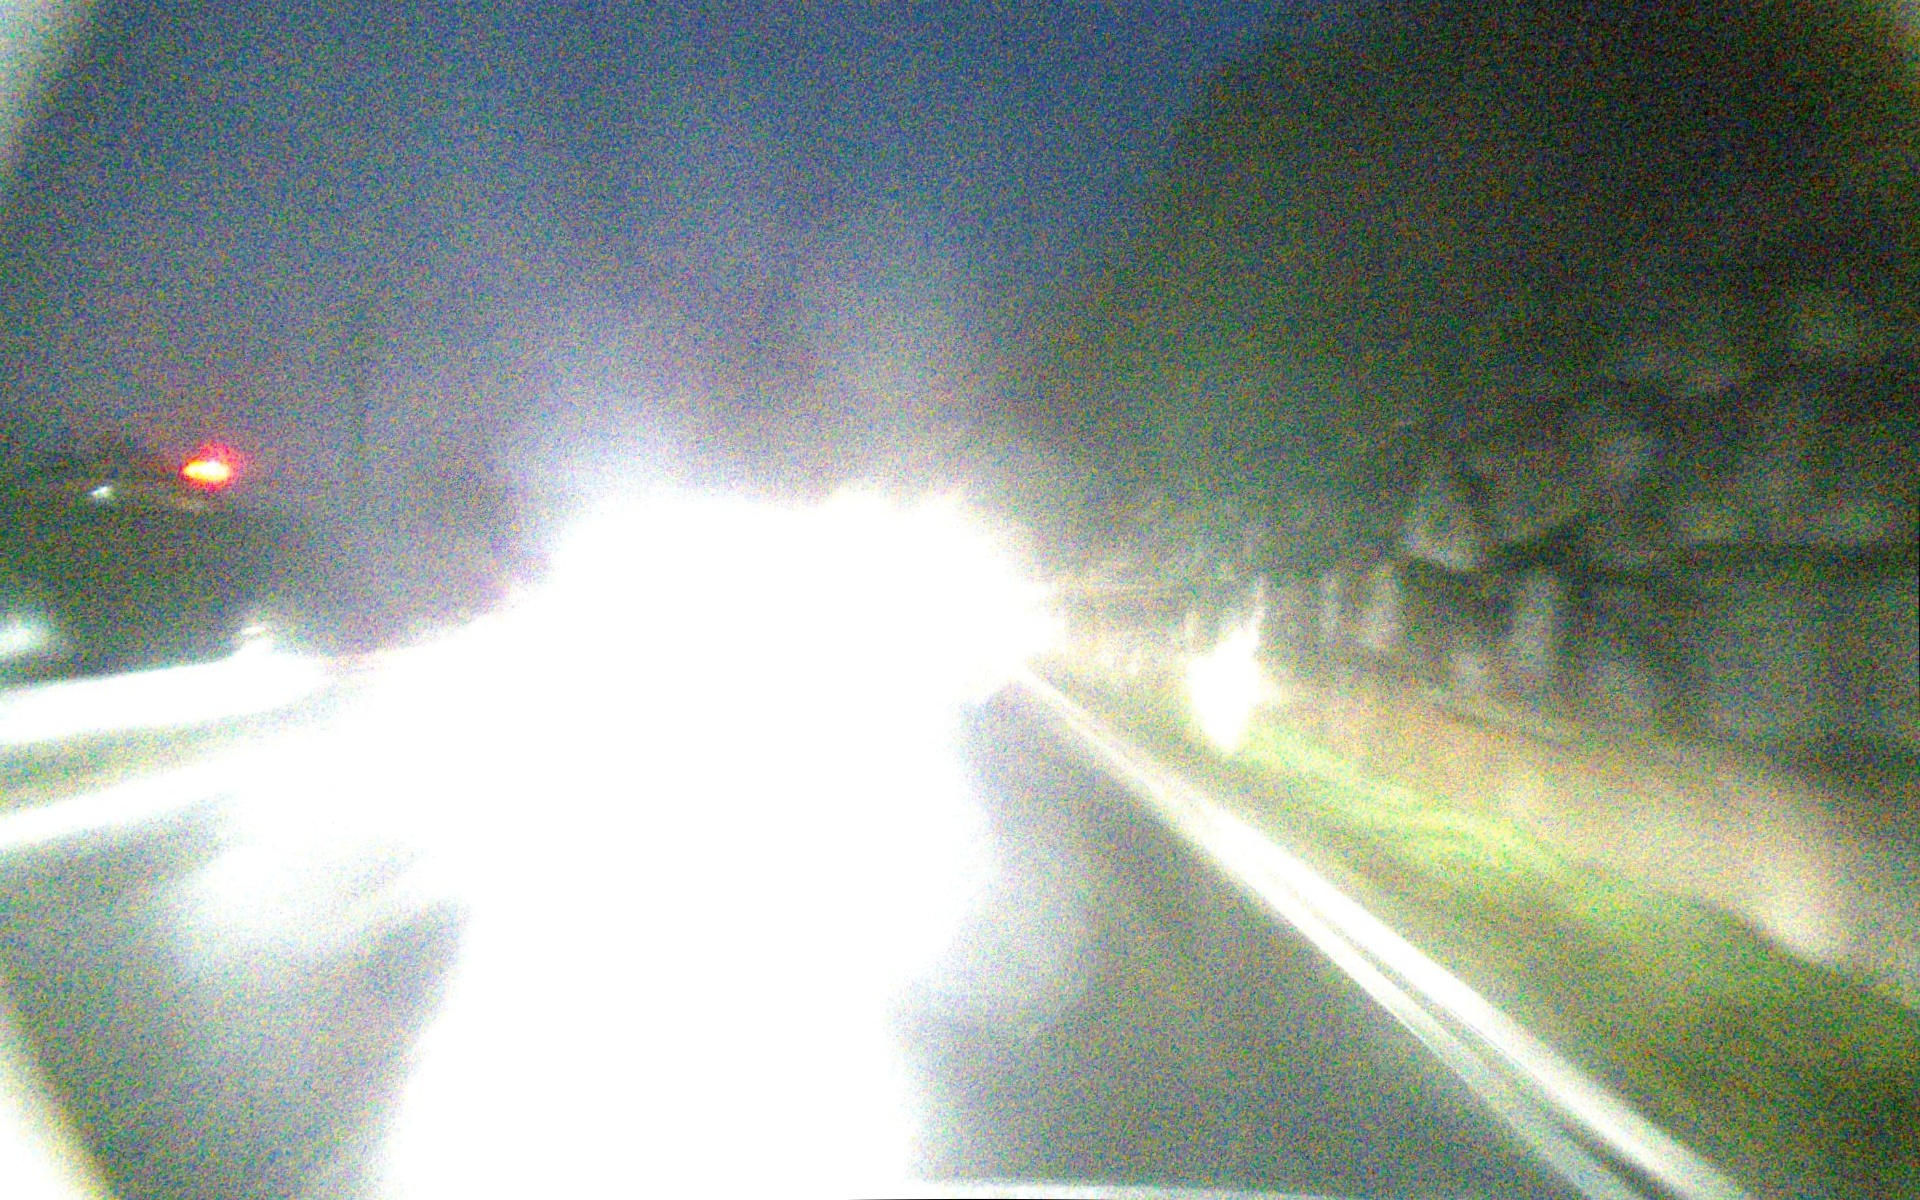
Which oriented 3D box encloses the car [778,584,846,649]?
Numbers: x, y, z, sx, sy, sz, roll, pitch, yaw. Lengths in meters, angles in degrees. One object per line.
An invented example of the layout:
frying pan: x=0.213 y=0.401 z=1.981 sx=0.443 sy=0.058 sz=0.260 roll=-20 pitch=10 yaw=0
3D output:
car: x=-4.928 y=0.523 z=55.554 sx=1.953 sy=2.048 sz=4.000 roll=1 pitch=1 yaw=-1

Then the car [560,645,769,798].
car: x=-3.581 y=1.435 z=20.778 sx=1.953 sy=1.526 sz=4.000 roll=1 pitch=1 yaw=-1
